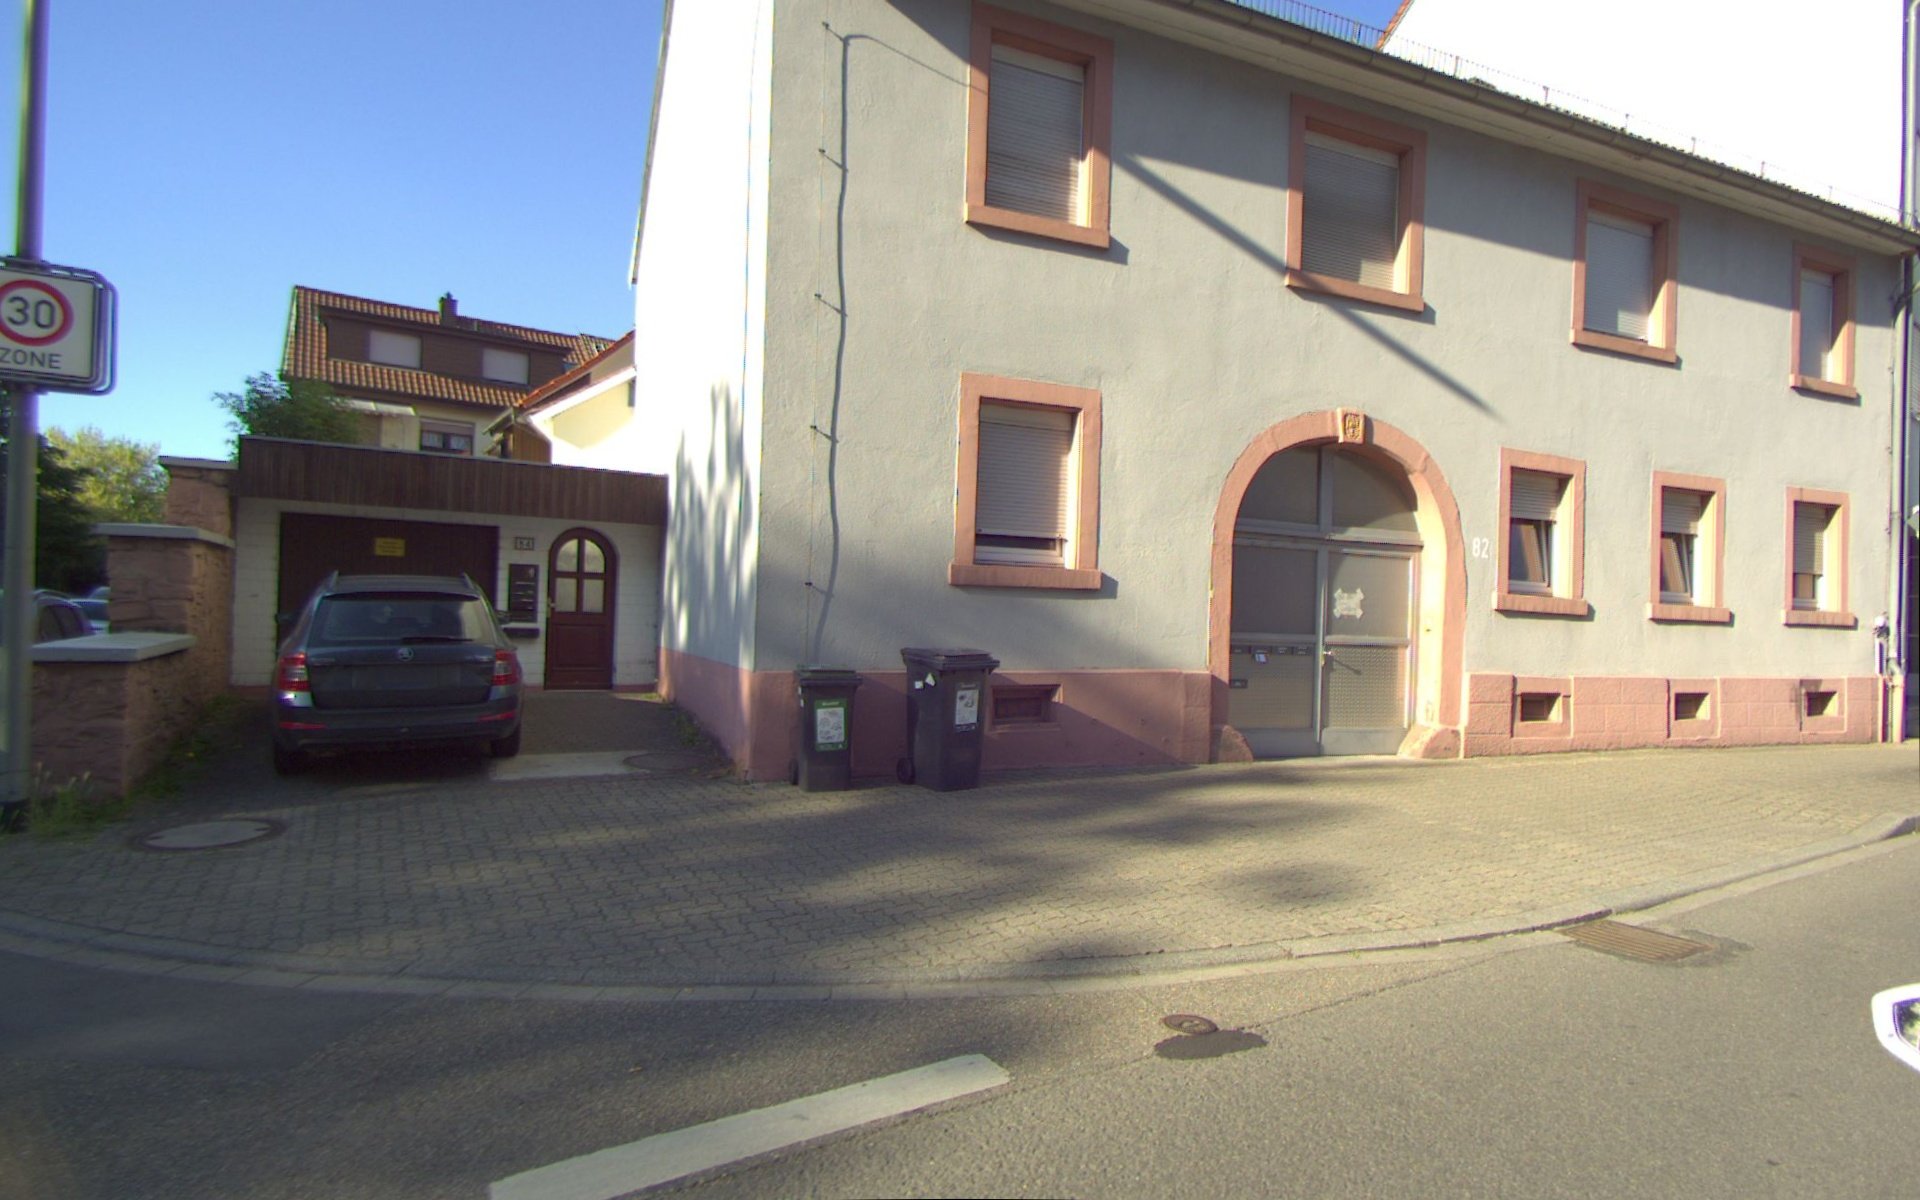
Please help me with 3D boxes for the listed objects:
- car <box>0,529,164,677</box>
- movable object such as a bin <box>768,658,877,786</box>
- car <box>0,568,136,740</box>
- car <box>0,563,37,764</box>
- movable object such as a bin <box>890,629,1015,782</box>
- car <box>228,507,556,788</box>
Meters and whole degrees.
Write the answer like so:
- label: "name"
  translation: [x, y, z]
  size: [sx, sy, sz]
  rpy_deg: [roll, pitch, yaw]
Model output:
- label: "car"
  translation: [-13.821, 0.013, 15.573]
  size: [1.905, 2.040, 3.639]
  rpy_deg: [2, 0, -33]
- label: "movable object such as a bin"
  translation: [-1.051, 0.904, 7.641]
  size: [0.600, 0.884, 0.595]
  rpy_deg: [3, 0, -34]
- label: "car"
  translation: [-10.094, 0.437, 10.232]
  size: [1.977, 1.520, 3.967]
  rpy_deg: [2, -1, -31]
- label: "car"
  translation: [-7.701, 0.460, 6.331]
  size: [1.977, 1.550, 3.749]
  rpy_deg: [2, -1, -31]
- label: "movable object such as a bin"
  translation: [-0.063, 0.811, 7.915]
  size: [0.743, 1.108, 0.595]
  rpy_deg: [3, 0, -31]
- label: "car"
  translation: [-4.925, 0.159, 8.860]
  size: [1.964, 1.819, 4.341]
  rpy_deg: [0, 4, -30]
